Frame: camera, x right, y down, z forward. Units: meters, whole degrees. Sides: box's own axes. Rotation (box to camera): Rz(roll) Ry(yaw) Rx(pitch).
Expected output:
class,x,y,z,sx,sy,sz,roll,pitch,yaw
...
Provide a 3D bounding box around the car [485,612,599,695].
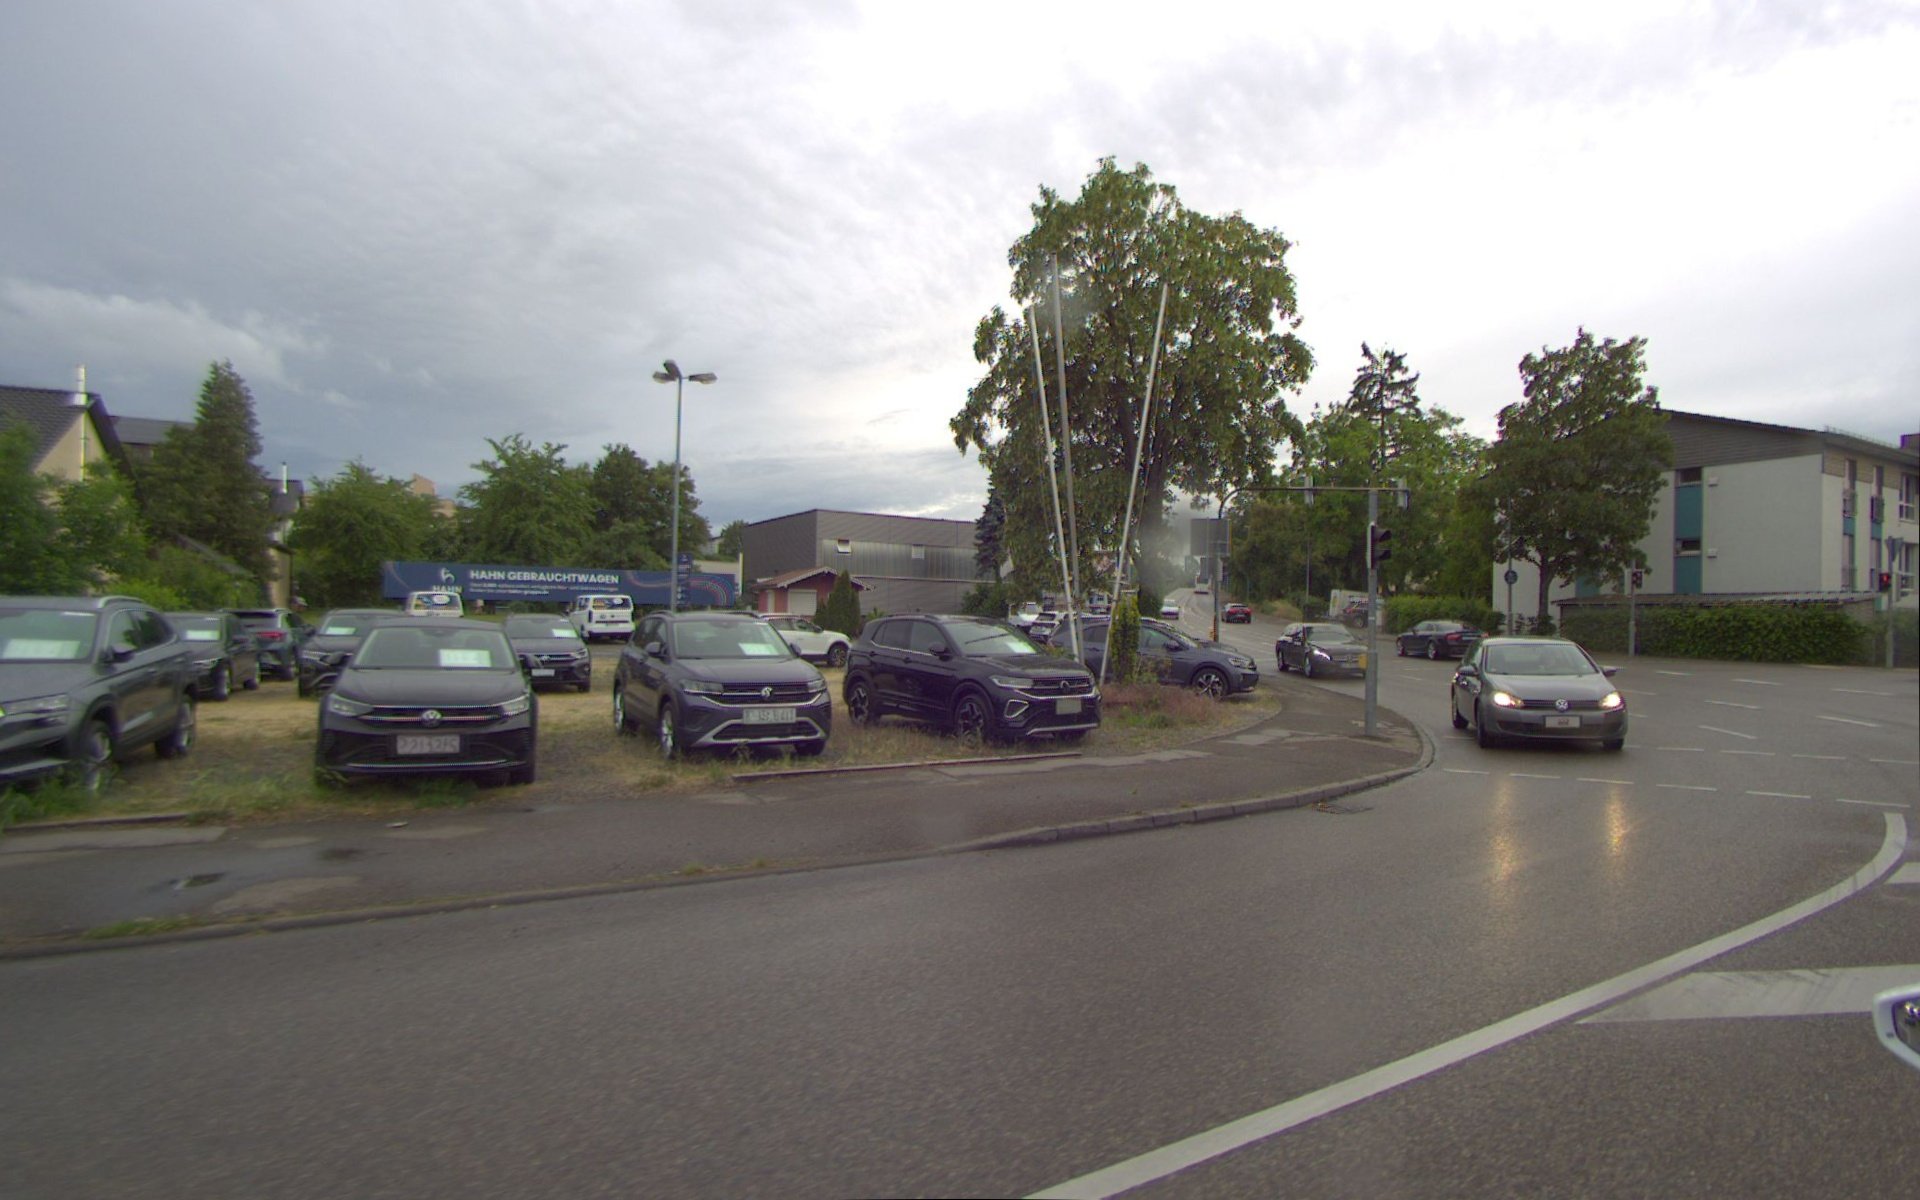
class,x,y,z,sx,sy,sz,roll,pitch,yaw
car,-8.307,0.979,19.800,1.501,1.393,3.612,0,1,-32

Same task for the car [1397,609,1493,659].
class,x,y,z,sx,sy,sz,roll,pitch,yaw
car,17.150,1.149,35.727,1.959,1.595,4.002,1,0,9

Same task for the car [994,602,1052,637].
class,x,y,z,sx,sy,sz,roll,pitch,yaw
car,3.799,1.162,61.028,1.971,2.021,3.979,0,1,-22

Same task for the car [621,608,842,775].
class,x,y,z,sx,sy,sz,roll,pitch,yaw
car,-2.850,0.903,11.859,1.669,1.551,3.932,0,1,-26

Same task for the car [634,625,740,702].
class,x,y,z,sx,sy,sz,roll,pitch,yaw
car,-5.904,1.319,21.454,1.569,1.483,3.750,0,-3,-25

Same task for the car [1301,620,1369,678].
class,x,y,z,sx,sy,sz,roll,pitch,yaw
car,10.701,1.327,28.586,1.679,1.410,4.348,-1,0,22

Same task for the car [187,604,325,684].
class,x,y,z,sx,sy,sz,roll,pitch,yaw
car,-15.662,0.896,22.557,1.728,1.573,3.977,0,1,-23

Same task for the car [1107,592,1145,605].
class,x,y,z,sx,sy,sz,roll,pitch,yaw
car,22.268,-0.204,134.708,4.701,1.645,1.806,1,-1,-21

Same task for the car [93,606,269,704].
class,x,y,z,sx,sy,sz,roll,pitch,yaw
car,-13.200,0.846,17.249,1.570,1.447,3.622,0,1,-24

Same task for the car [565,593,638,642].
class,x,y,z,sx,sy,sz,roll,pitch,yaw
car,-15.050,0.682,42.027,1.978,1.895,4.412,0,1,-32

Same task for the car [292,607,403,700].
class,x,y,z,sx,sy,sz,roll,pitch,yaw
car,-11.106,0.874,18.207,1.574,1.447,3.612,0,1,-32

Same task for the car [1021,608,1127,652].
class,x,y,z,sx,sy,sz,roll,pitch,yaw
car,4.636,1.210,40.744,3.950,1.541,1.747,4,-1,-28

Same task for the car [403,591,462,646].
class,x,y,z,sx,sy,sz,roll,pitch,yaw
car,-20.211,0.653,38.400,1.704,2.000,4.157,0,1,-32

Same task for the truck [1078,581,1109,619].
class,x,y,z,sx,sy,sz,roll,pitch,yaw
truck,9.560,-0.016,71.666,1.959,2.573,5.561,1,1,10

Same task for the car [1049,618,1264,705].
class,x,y,z,sx,sy,sz,roll,pitch,yaw
car,3.882,1.171,19.777,3.905,1.510,1.756,-1,1,21

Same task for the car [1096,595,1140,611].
class,x,y,z,sx,sy,sz,roll,pitch,yaw
car,14.992,0.306,95.590,3.921,1.394,1.814,1,0,0

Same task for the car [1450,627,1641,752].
class,x,y,z,sx,sy,sz,roll,pitch,yaw
car,8.350,1.203,14.680,1.695,1.475,3.999,-2,-1,20

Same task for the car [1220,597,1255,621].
class,x,y,z,sx,sy,sz,roll,pitch,yaw
car,20.508,0.624,74.339,1.959,1.706,4.002,0,0,9

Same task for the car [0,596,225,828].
class,x,y,z,sx,sy,sz,roll,pitch,yaw
car,-7.804,0.760,8.480,1.779,1.564,3.976,1,0,-24

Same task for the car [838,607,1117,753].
class,x,y,z,sx,sy,sz,roll,pitch,yaw
car,0.080,0.899,13.157,1.607,1.551,3.917,0,1,-37

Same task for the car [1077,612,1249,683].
class,x,y,z,sx,sy,sz,roll,pitch,yaw
car,4.877,1.140,24.370,3.919,1.576,1.758,-1,1,10

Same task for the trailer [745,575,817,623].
class,x,y,z,sx,sy,sz,roll,pitch,yaw
trailer,-10.987,-0.053,61.389,2.591,2.800,4.980,1,-1,-34

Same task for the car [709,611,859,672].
class,x,y,z,sx,sy,sz,roll,pitch,yaw
car,-4.979,1.118,28.671,3.972,1.576,1.691,0,1,-44

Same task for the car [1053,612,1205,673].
class,x,y,z,sx,sy,sz,roll,pitch,yaw
car,4.485,1.121,27.113,3.919,1.530,1.758,0,1,5

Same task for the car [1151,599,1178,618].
class,x,y,z,sx,sy,sz,roll,pitch,yaw
car,15.872,0.621,78.012,1.560,1.423,3.709,0,0,4

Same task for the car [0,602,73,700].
class,x,y,z,sx,sy,sz,roll,pitch,yaw
car,-15.734,0.774,15.885,1.570,1.447,3.621,0,1,-25

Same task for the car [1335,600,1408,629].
class,x,y,z,sx,sy,sz,roll,pitch,yaw
car,25.998,0.871,63.584,3.919,1.747,2.001,1,1,10

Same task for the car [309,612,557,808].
class,x,y,z,sx,sy,sz,roll,pitch,yaw
car,-5.061,0.888,9.990,1.779,1.460,3.976,1,0,-24
